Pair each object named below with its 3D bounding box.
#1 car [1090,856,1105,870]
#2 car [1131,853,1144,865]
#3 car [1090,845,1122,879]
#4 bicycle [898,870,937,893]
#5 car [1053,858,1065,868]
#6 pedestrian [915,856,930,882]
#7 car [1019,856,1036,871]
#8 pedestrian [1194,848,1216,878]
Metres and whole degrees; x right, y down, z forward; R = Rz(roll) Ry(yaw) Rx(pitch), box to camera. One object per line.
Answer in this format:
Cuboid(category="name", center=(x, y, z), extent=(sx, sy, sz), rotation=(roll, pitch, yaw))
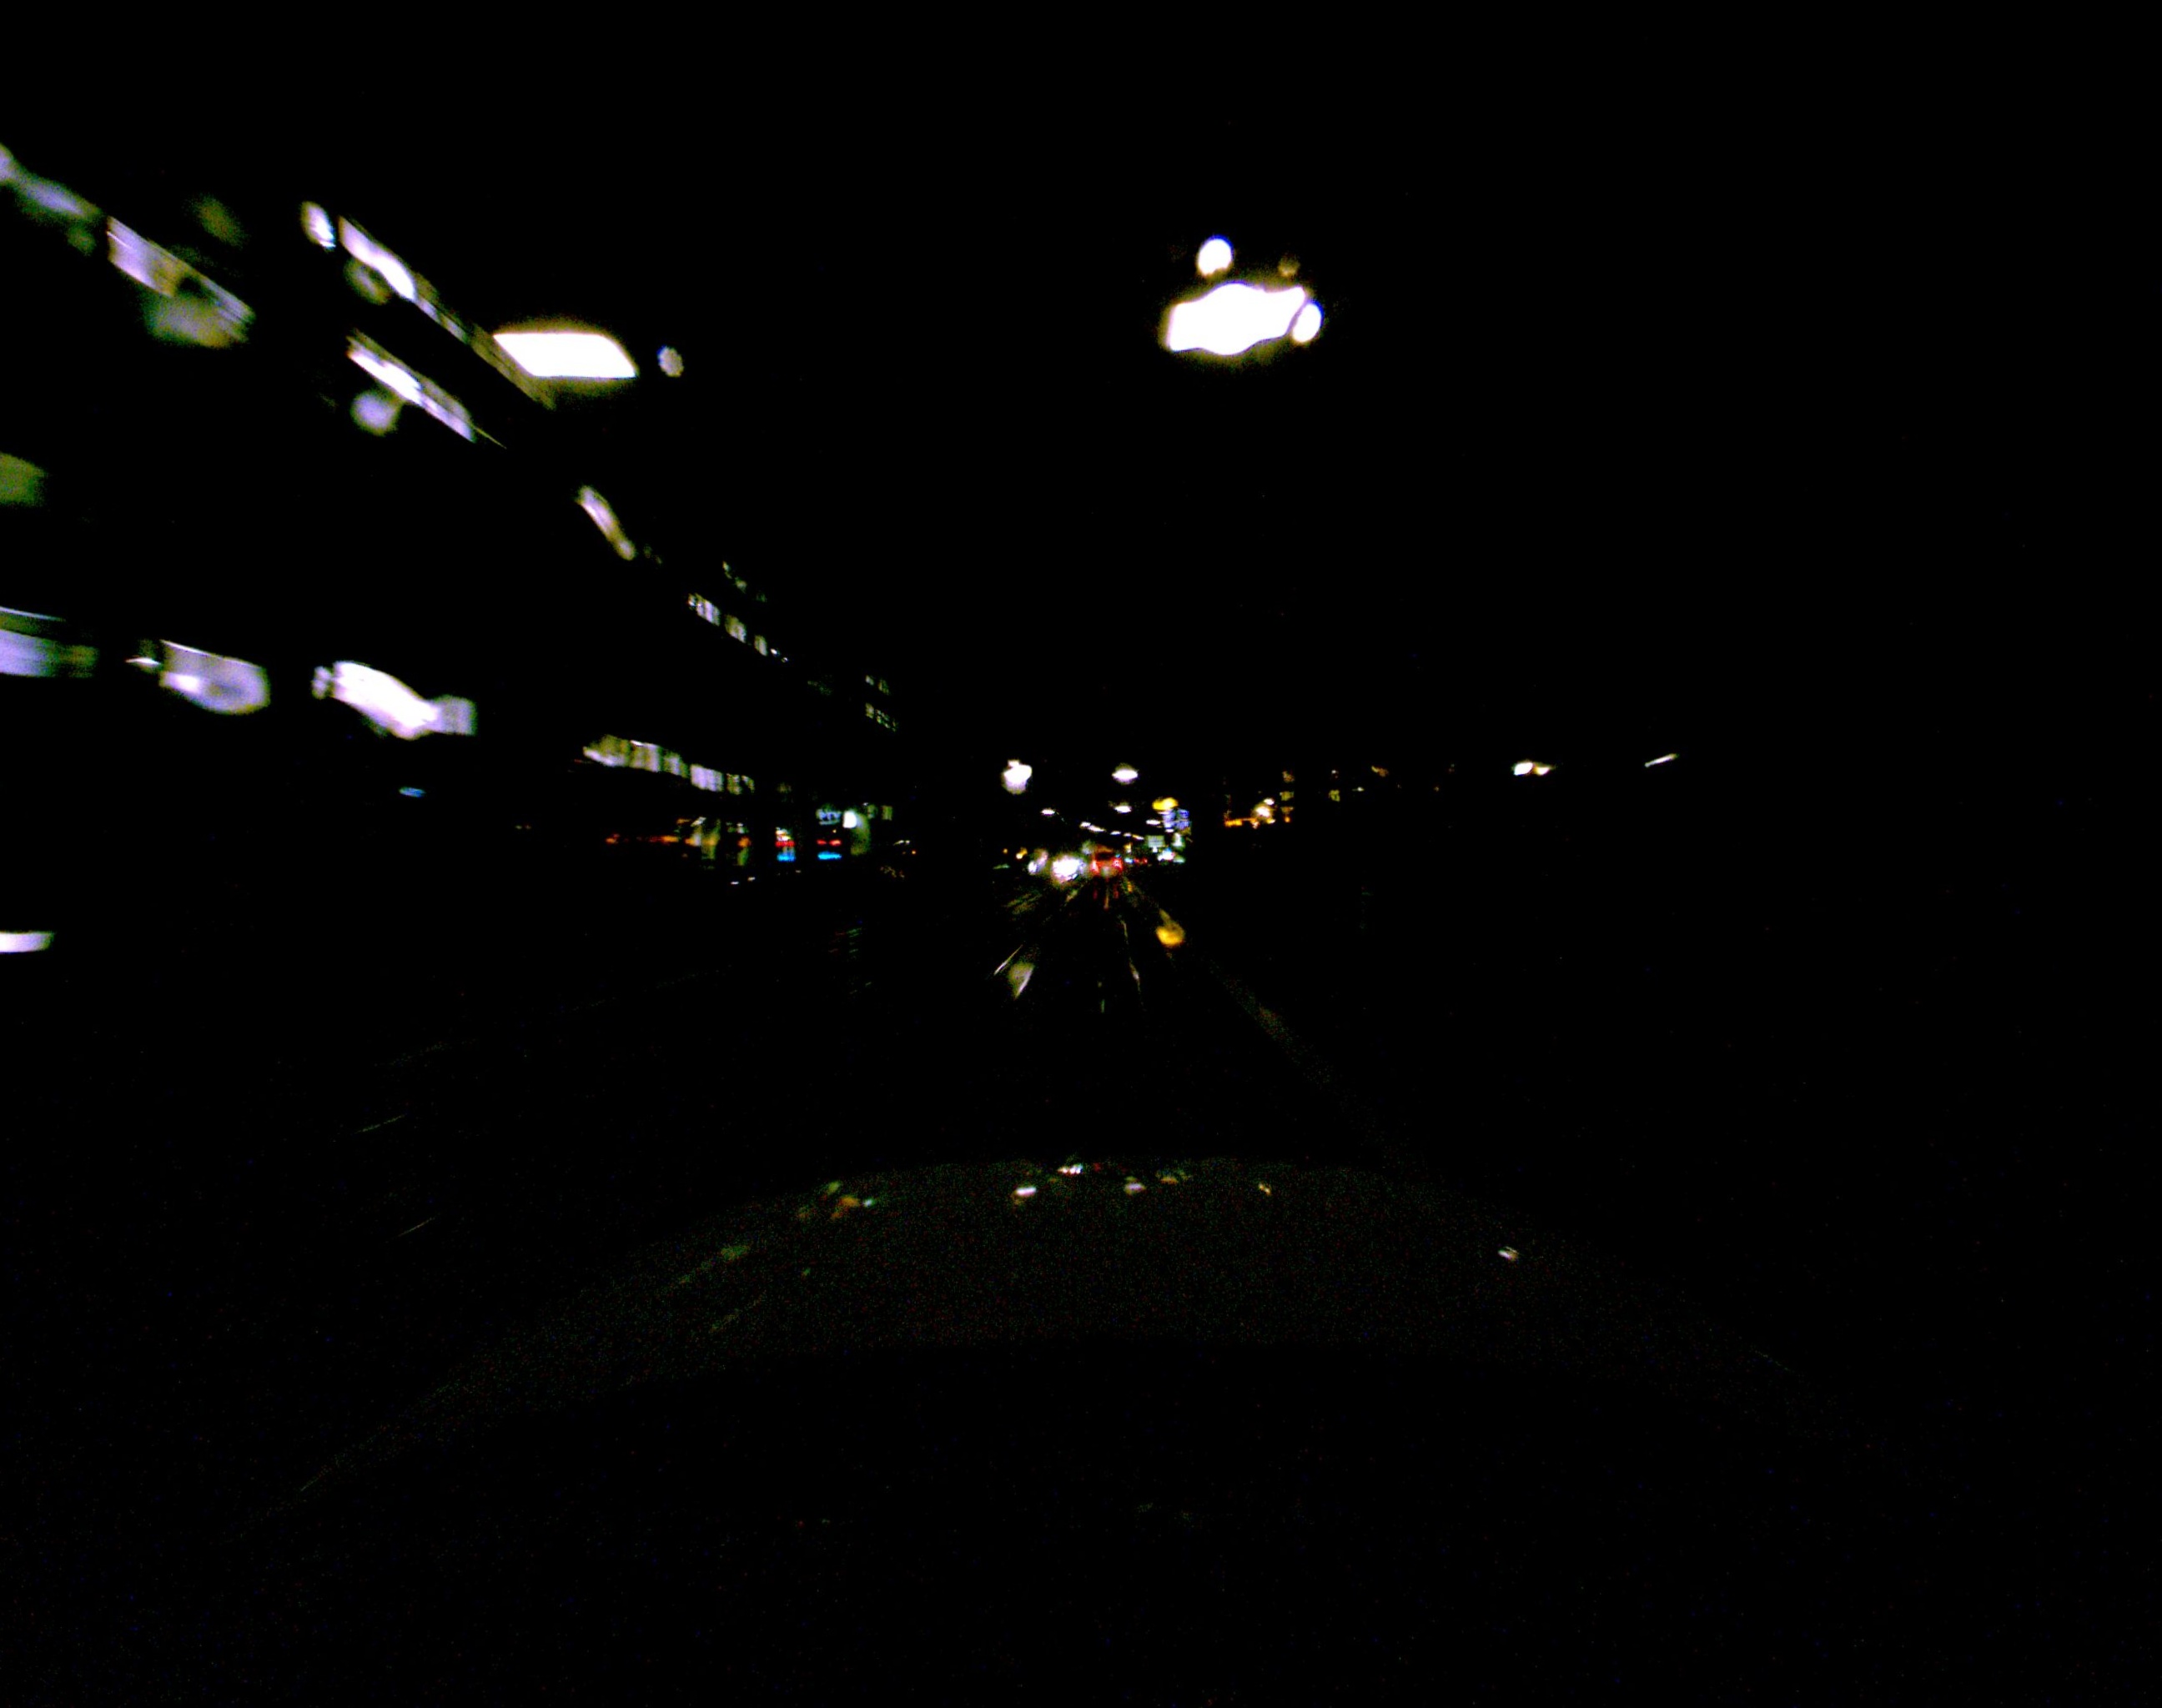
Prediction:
Cuboid(category="car", center=(2.337, 1.232, 114.848), extent=(1.986, 1.816, 4.000), rotation=(-2, -1, 1))
Cuboid(category="car", center=(9.404, 0.863, 135.458), extent=(1.986, 2.014, 4.001), rotation=(-2, -1, 1))
Cuboid(category="car", center=(1.850, 0.595, 60.663), extent=(2.236, 2.361, 4.394), rotation=(-2, -1, 1))
Cuboid(category="bicycle", center=(-8.280, 1.378, 41.287), extent=(1.847, 1.077, 0.628), rotation=(-2, -1, 1))
Cuboid(category="car", center=(-3.673, 1.513, 136.655), extent=(1.988, 1.724, 4.073), rotation=(-2, -1, -2))
Cuboid(category="pedestrian", center=(-10.753, 1.014, 55.185), extent=(0.783, 1.686, 0.883), rotation=(-2, -1, 1))
Cuboid(category="car", center=(-7.828, 1.382, 118.996), extent=(1.985, 2.014, 4.003), rotation=(-2, -1, 3))
Cuboid(category="pedestrian", center=(7.146, 0.517, 47.015), extent=(0.937, 1.663, 0.993), rotation=(-4, 0, -3))
